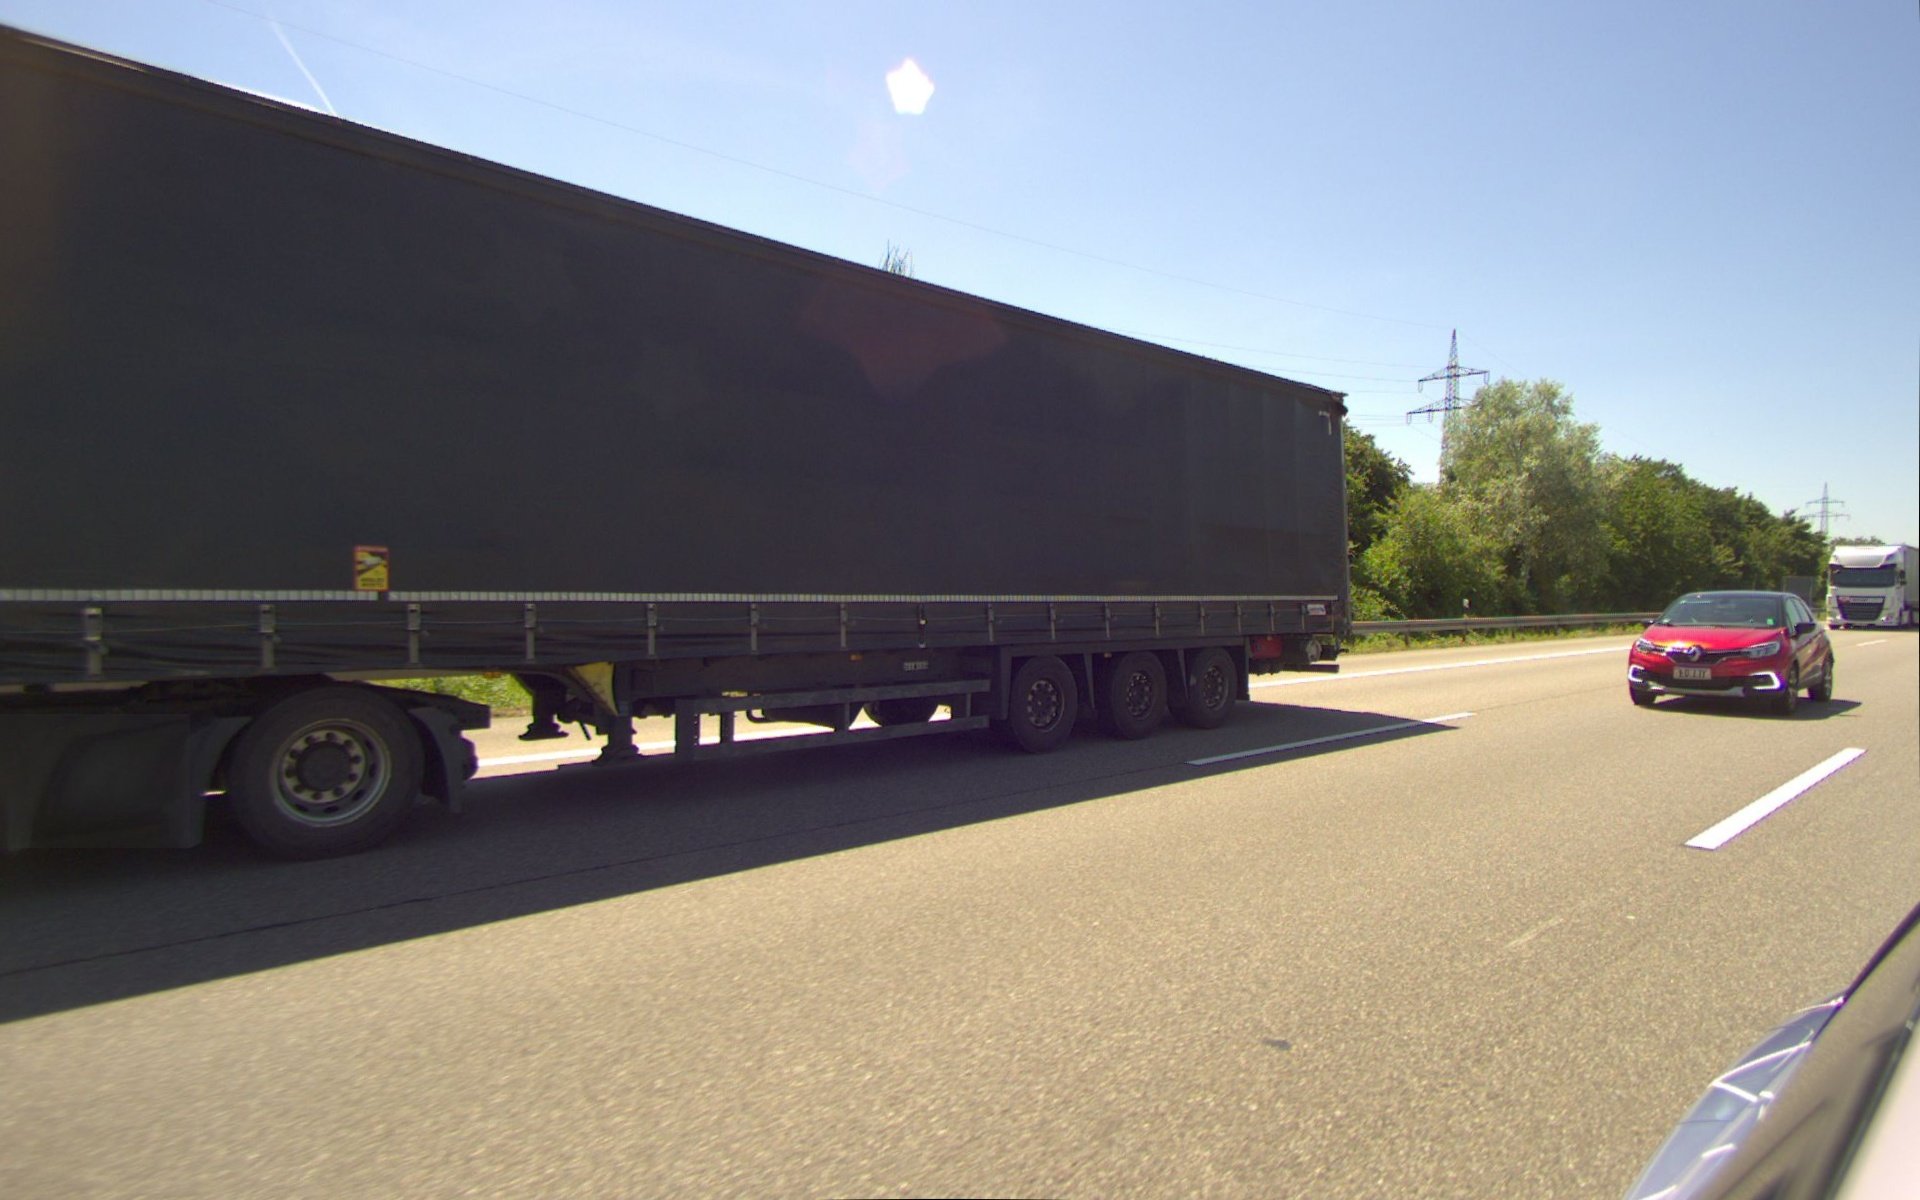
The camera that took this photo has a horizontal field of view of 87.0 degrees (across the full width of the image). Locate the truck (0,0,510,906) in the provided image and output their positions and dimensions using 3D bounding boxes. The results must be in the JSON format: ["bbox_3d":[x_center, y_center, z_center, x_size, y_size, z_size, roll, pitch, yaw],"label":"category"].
[{"bbox_3d":[-5.698,-0.750,5.225,5.622,4.216,2.800,0,1,-41],"label":"truck"}]

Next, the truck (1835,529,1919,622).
[{"bbox_3d":[44.040,-1.122,48.229,6.018,4.171,2.741,0,1,-41],"label":"truck"}]

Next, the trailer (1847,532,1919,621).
[{"bbox_3d":[49.136,-1.146,52.679,12.893,4.158,2.741,0,1,-41],"label":"trailer"}]

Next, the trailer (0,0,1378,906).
[{"bbox_3d":[-0.619,-0.783,9.623,13.336,4.216,2.794,0,1,-41],"label":"trailer"}]

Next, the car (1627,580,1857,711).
[{"bbox_3d":[10.980,0.521,14.123,3.930,1.565,1.806,0,1,-41],"label":"car"}]
